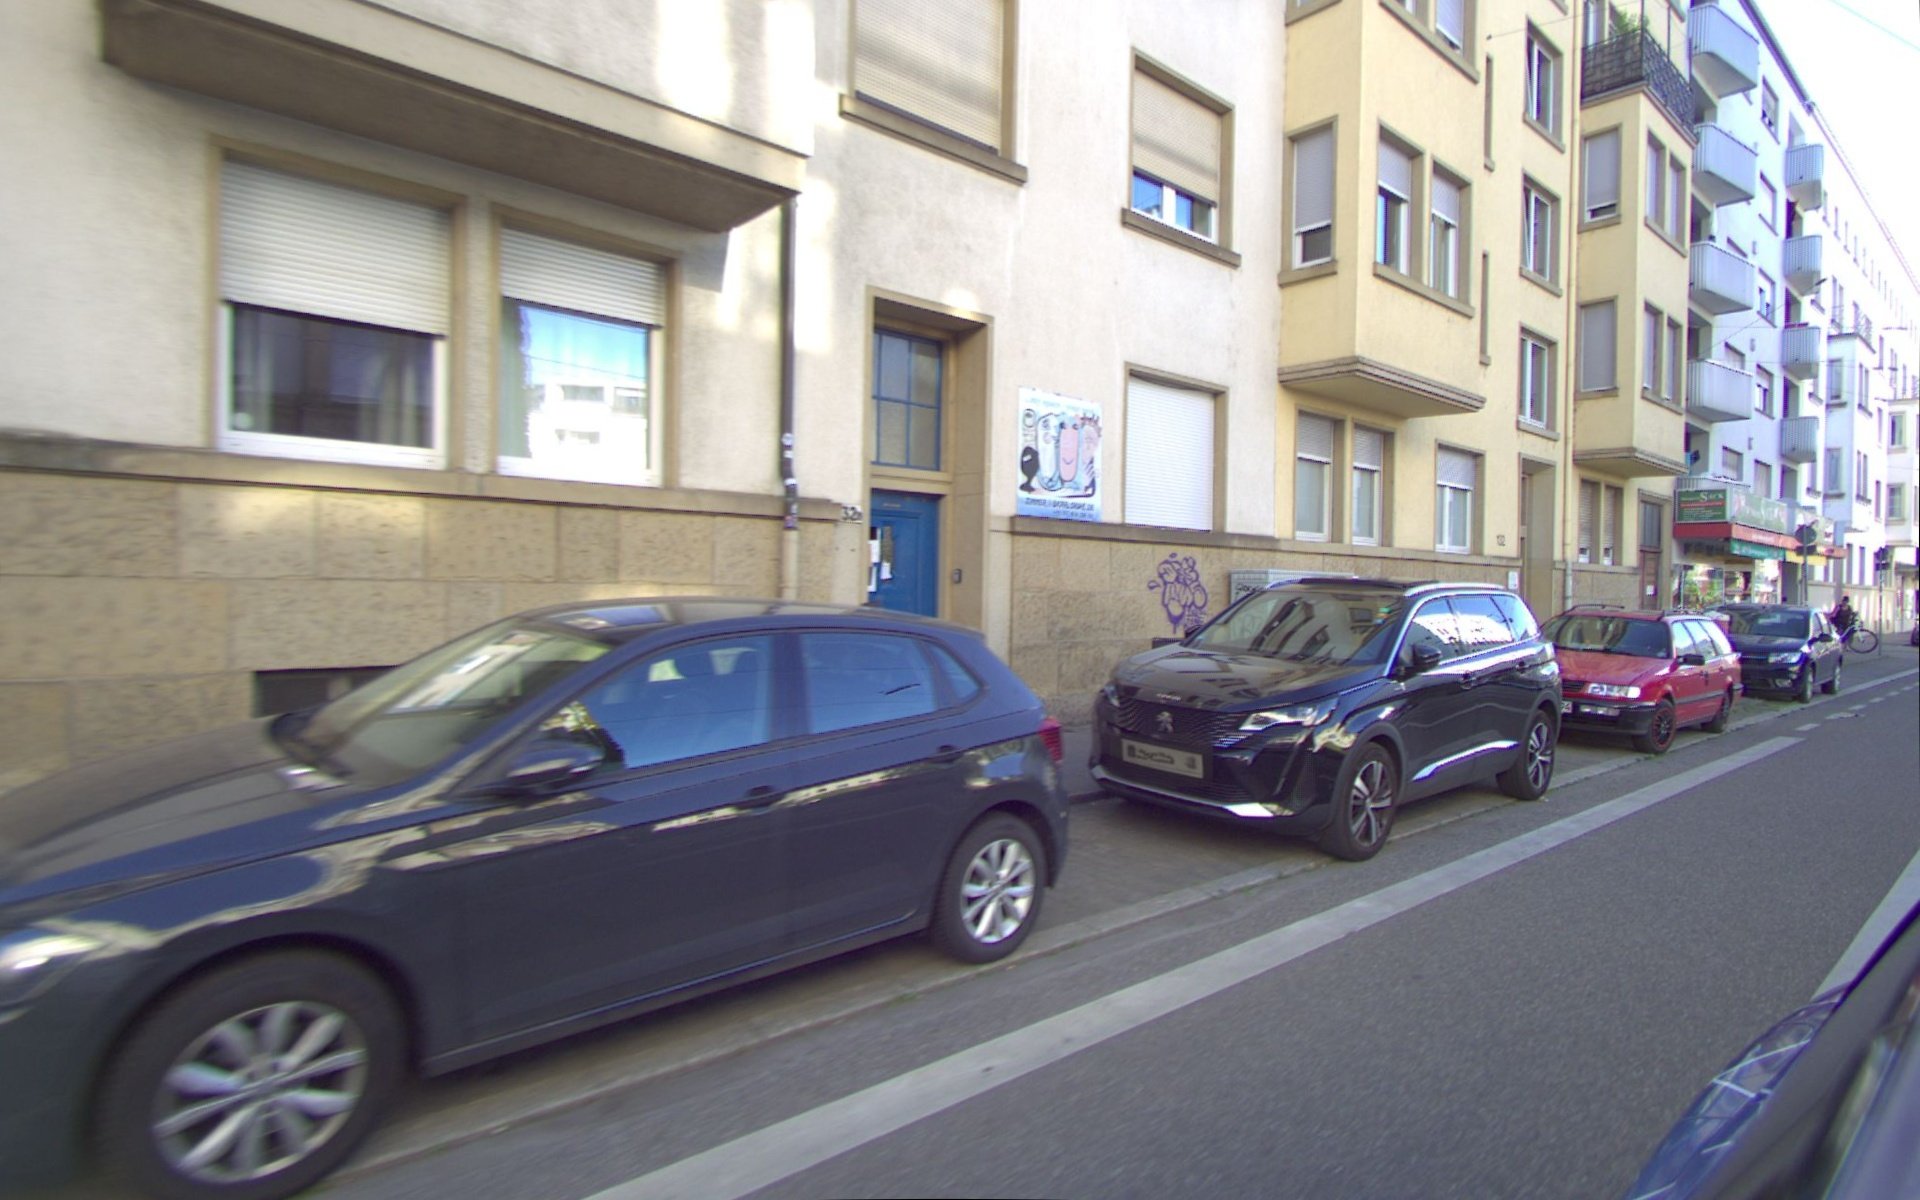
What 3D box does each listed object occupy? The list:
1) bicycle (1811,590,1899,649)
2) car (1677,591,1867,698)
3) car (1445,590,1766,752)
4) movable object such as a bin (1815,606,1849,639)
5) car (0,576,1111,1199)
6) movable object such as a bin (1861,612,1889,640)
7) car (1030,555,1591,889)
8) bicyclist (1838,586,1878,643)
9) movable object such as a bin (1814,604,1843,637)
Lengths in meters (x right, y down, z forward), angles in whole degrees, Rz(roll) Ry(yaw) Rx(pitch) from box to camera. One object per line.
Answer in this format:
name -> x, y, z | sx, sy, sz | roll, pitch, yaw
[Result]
bicycle -> 27.428, 0.580, 31.041 | 0.761, 1.732, 1.936 | 0, 0, -37
car -> 13.513, 0.646, 16.774 | 3.931, 1.509, 1.722 | 0, 2, -41
car -> 7.485, 0.637, 11.535 | 4.627, 1.474, 1.862 | 0, 1, -41
movable object such as a bin -> 29.003, 0.742, 33.657 | 0.607, 1.086, 0.771 | 0, 0, -41
car -> -1.392, 0.663, 3.769 | 3.963, 1.460, 1.740 | 0, 1, -42
movable object such as a bin -> 32.030, 0.898, 35.422 | 0.560, 0.928, 0.656 | 0, 0, -41
car -> 2.744, 0.590, 7.303 | 4.482, 1.686, 1.862 | 0, 1, -41
bicyclist -> 27.525, 0.427, 31.016 | 0.500, 1.724, 0.845 | 0, 0, -37
movable object such as a bin -> 29.363, 0.676, 34.211 | 0.560, 1.086, 0.677 | 0, 0, -41
